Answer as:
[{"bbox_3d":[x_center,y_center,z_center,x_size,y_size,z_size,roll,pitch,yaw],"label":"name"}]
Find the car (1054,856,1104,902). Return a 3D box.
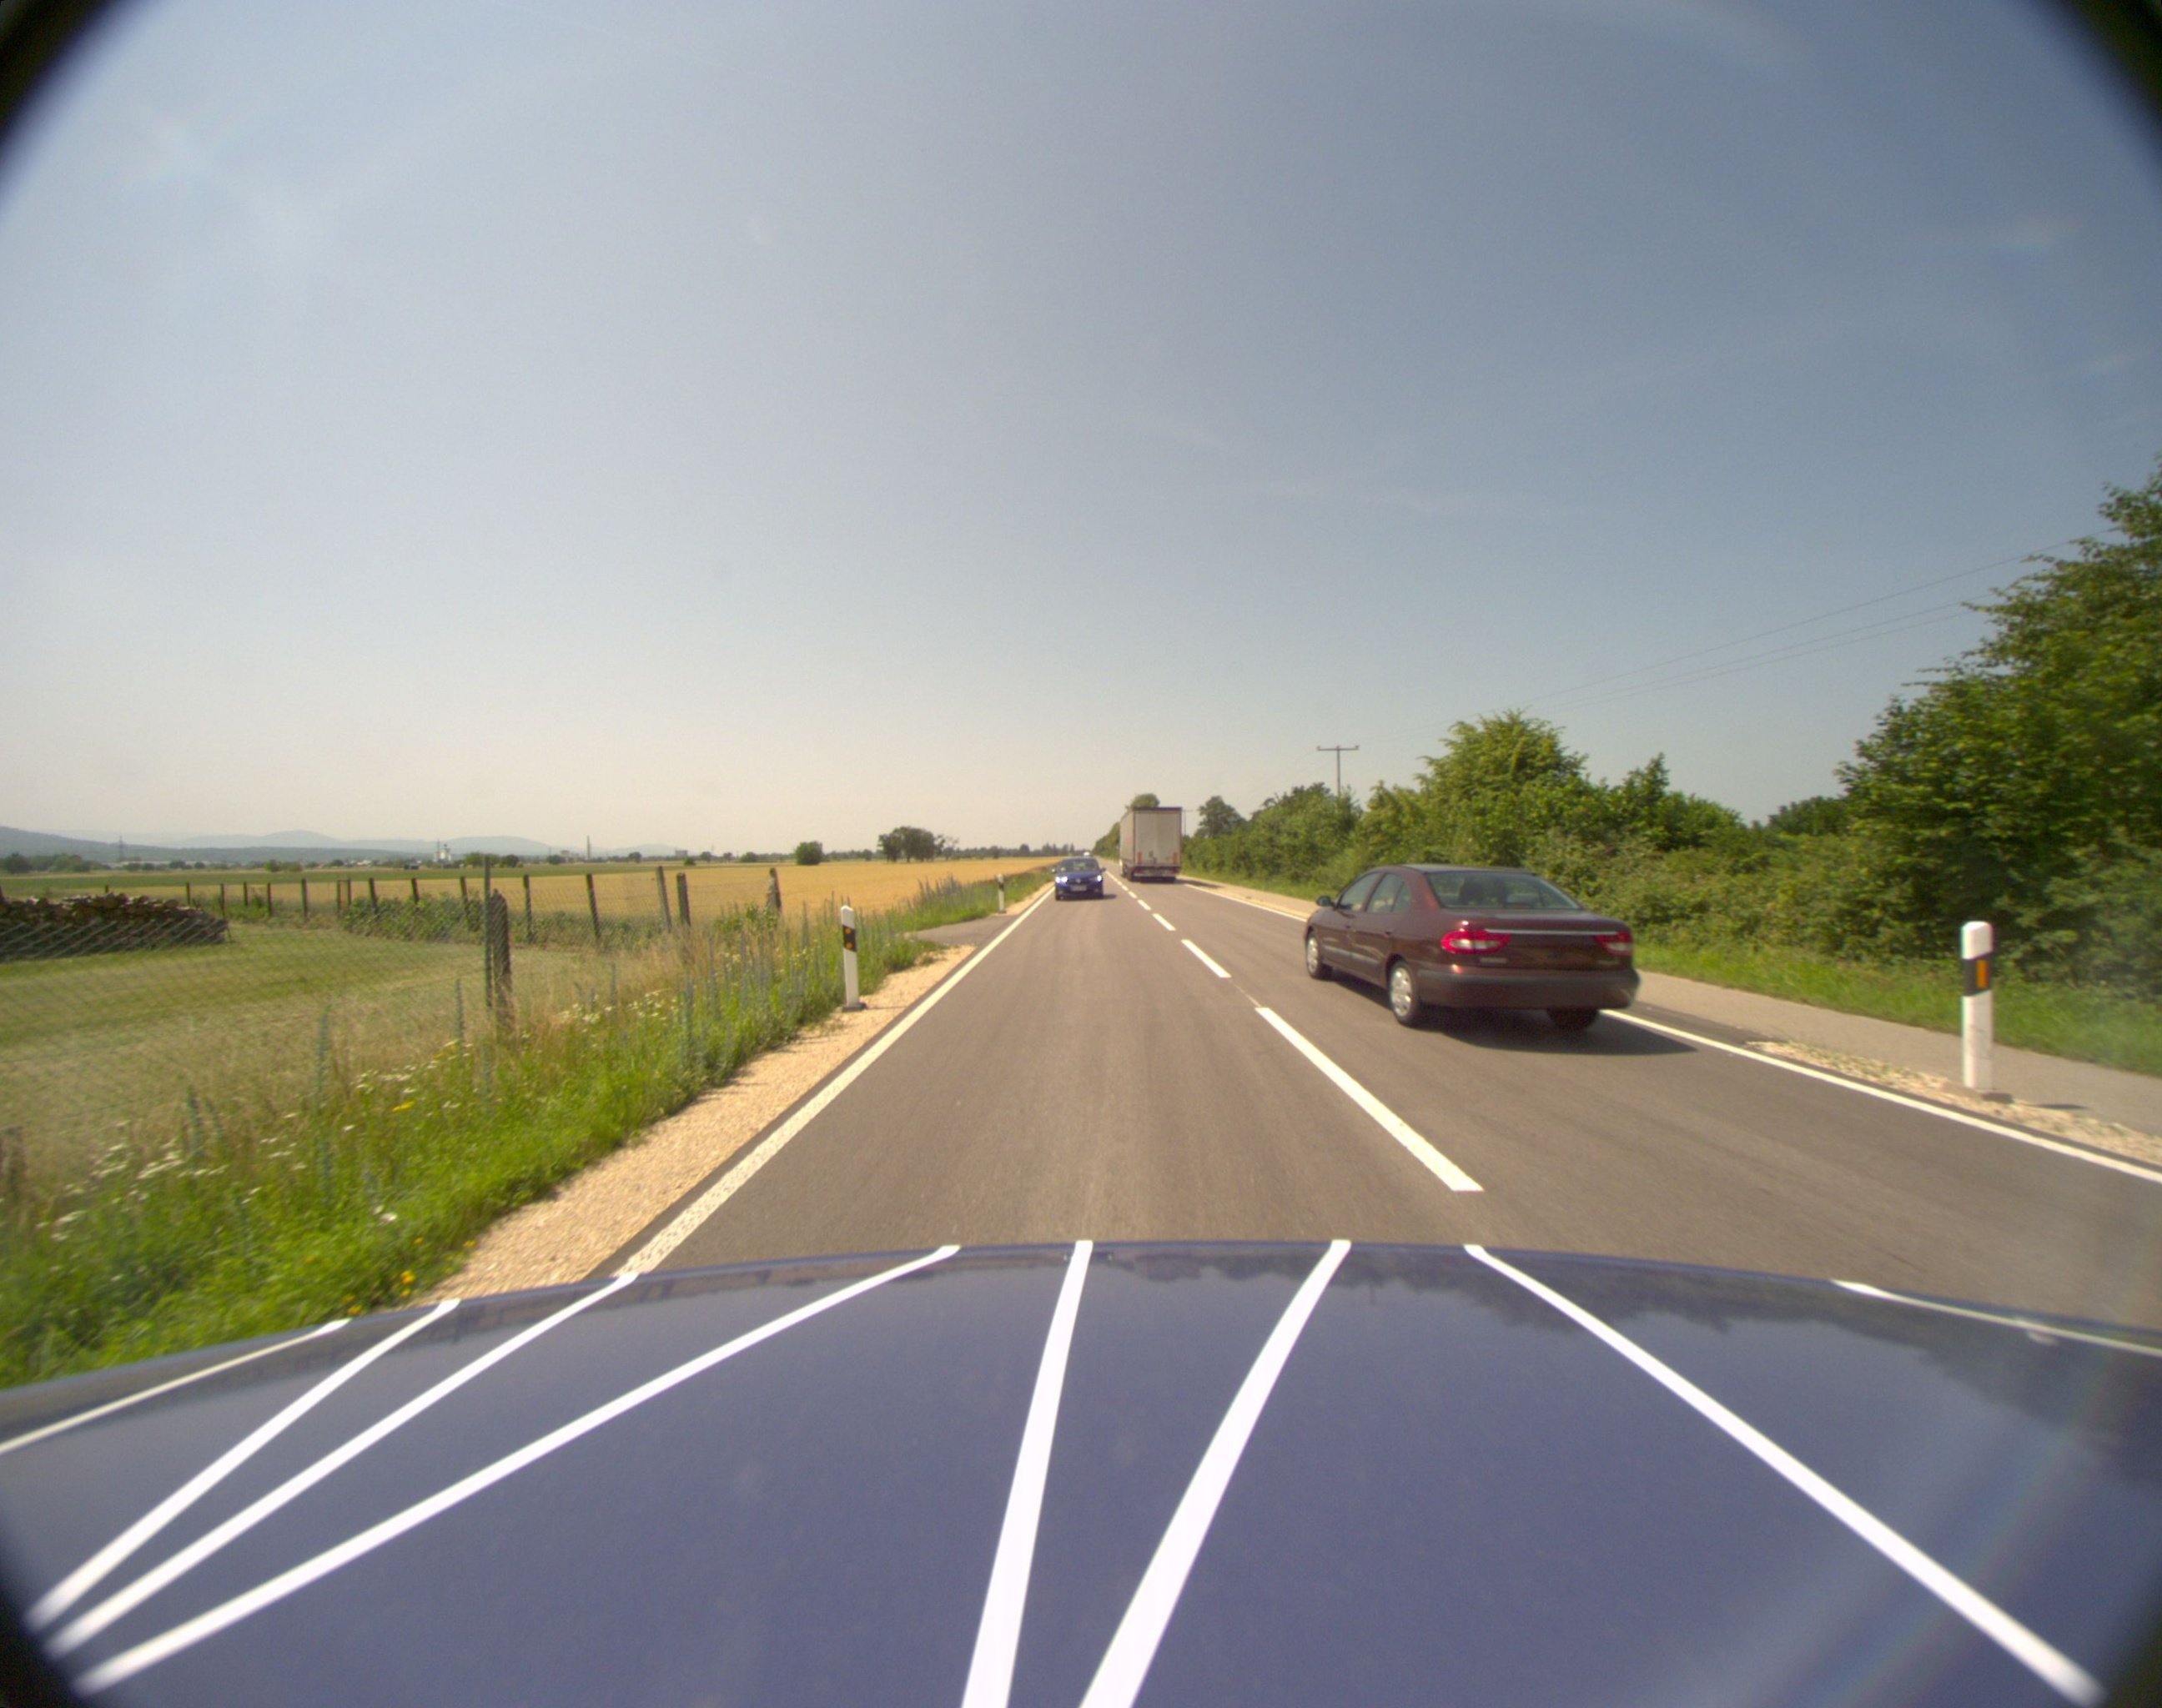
[{"bbox_3d":[-0.054,0.862,28.261,1.662,1.508,4.000,-3,0,0],"label":"car"}]

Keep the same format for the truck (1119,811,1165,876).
[{"bbox_3d":[4.197,-0.702,53.375,2.723,4.241,7.389,0,0,1],"label":"truck"}]

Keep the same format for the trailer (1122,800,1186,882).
[{"bbox_3d":[4.152,-0.682,46.304,2.723,4.241,13.809,0,0,1],"label":"trailer"}]

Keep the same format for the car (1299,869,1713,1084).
[{"bbox_3d":[3.567,0.904,7.357,1.699,1.398,4.045,1,0,-1],"label":"car"}]
